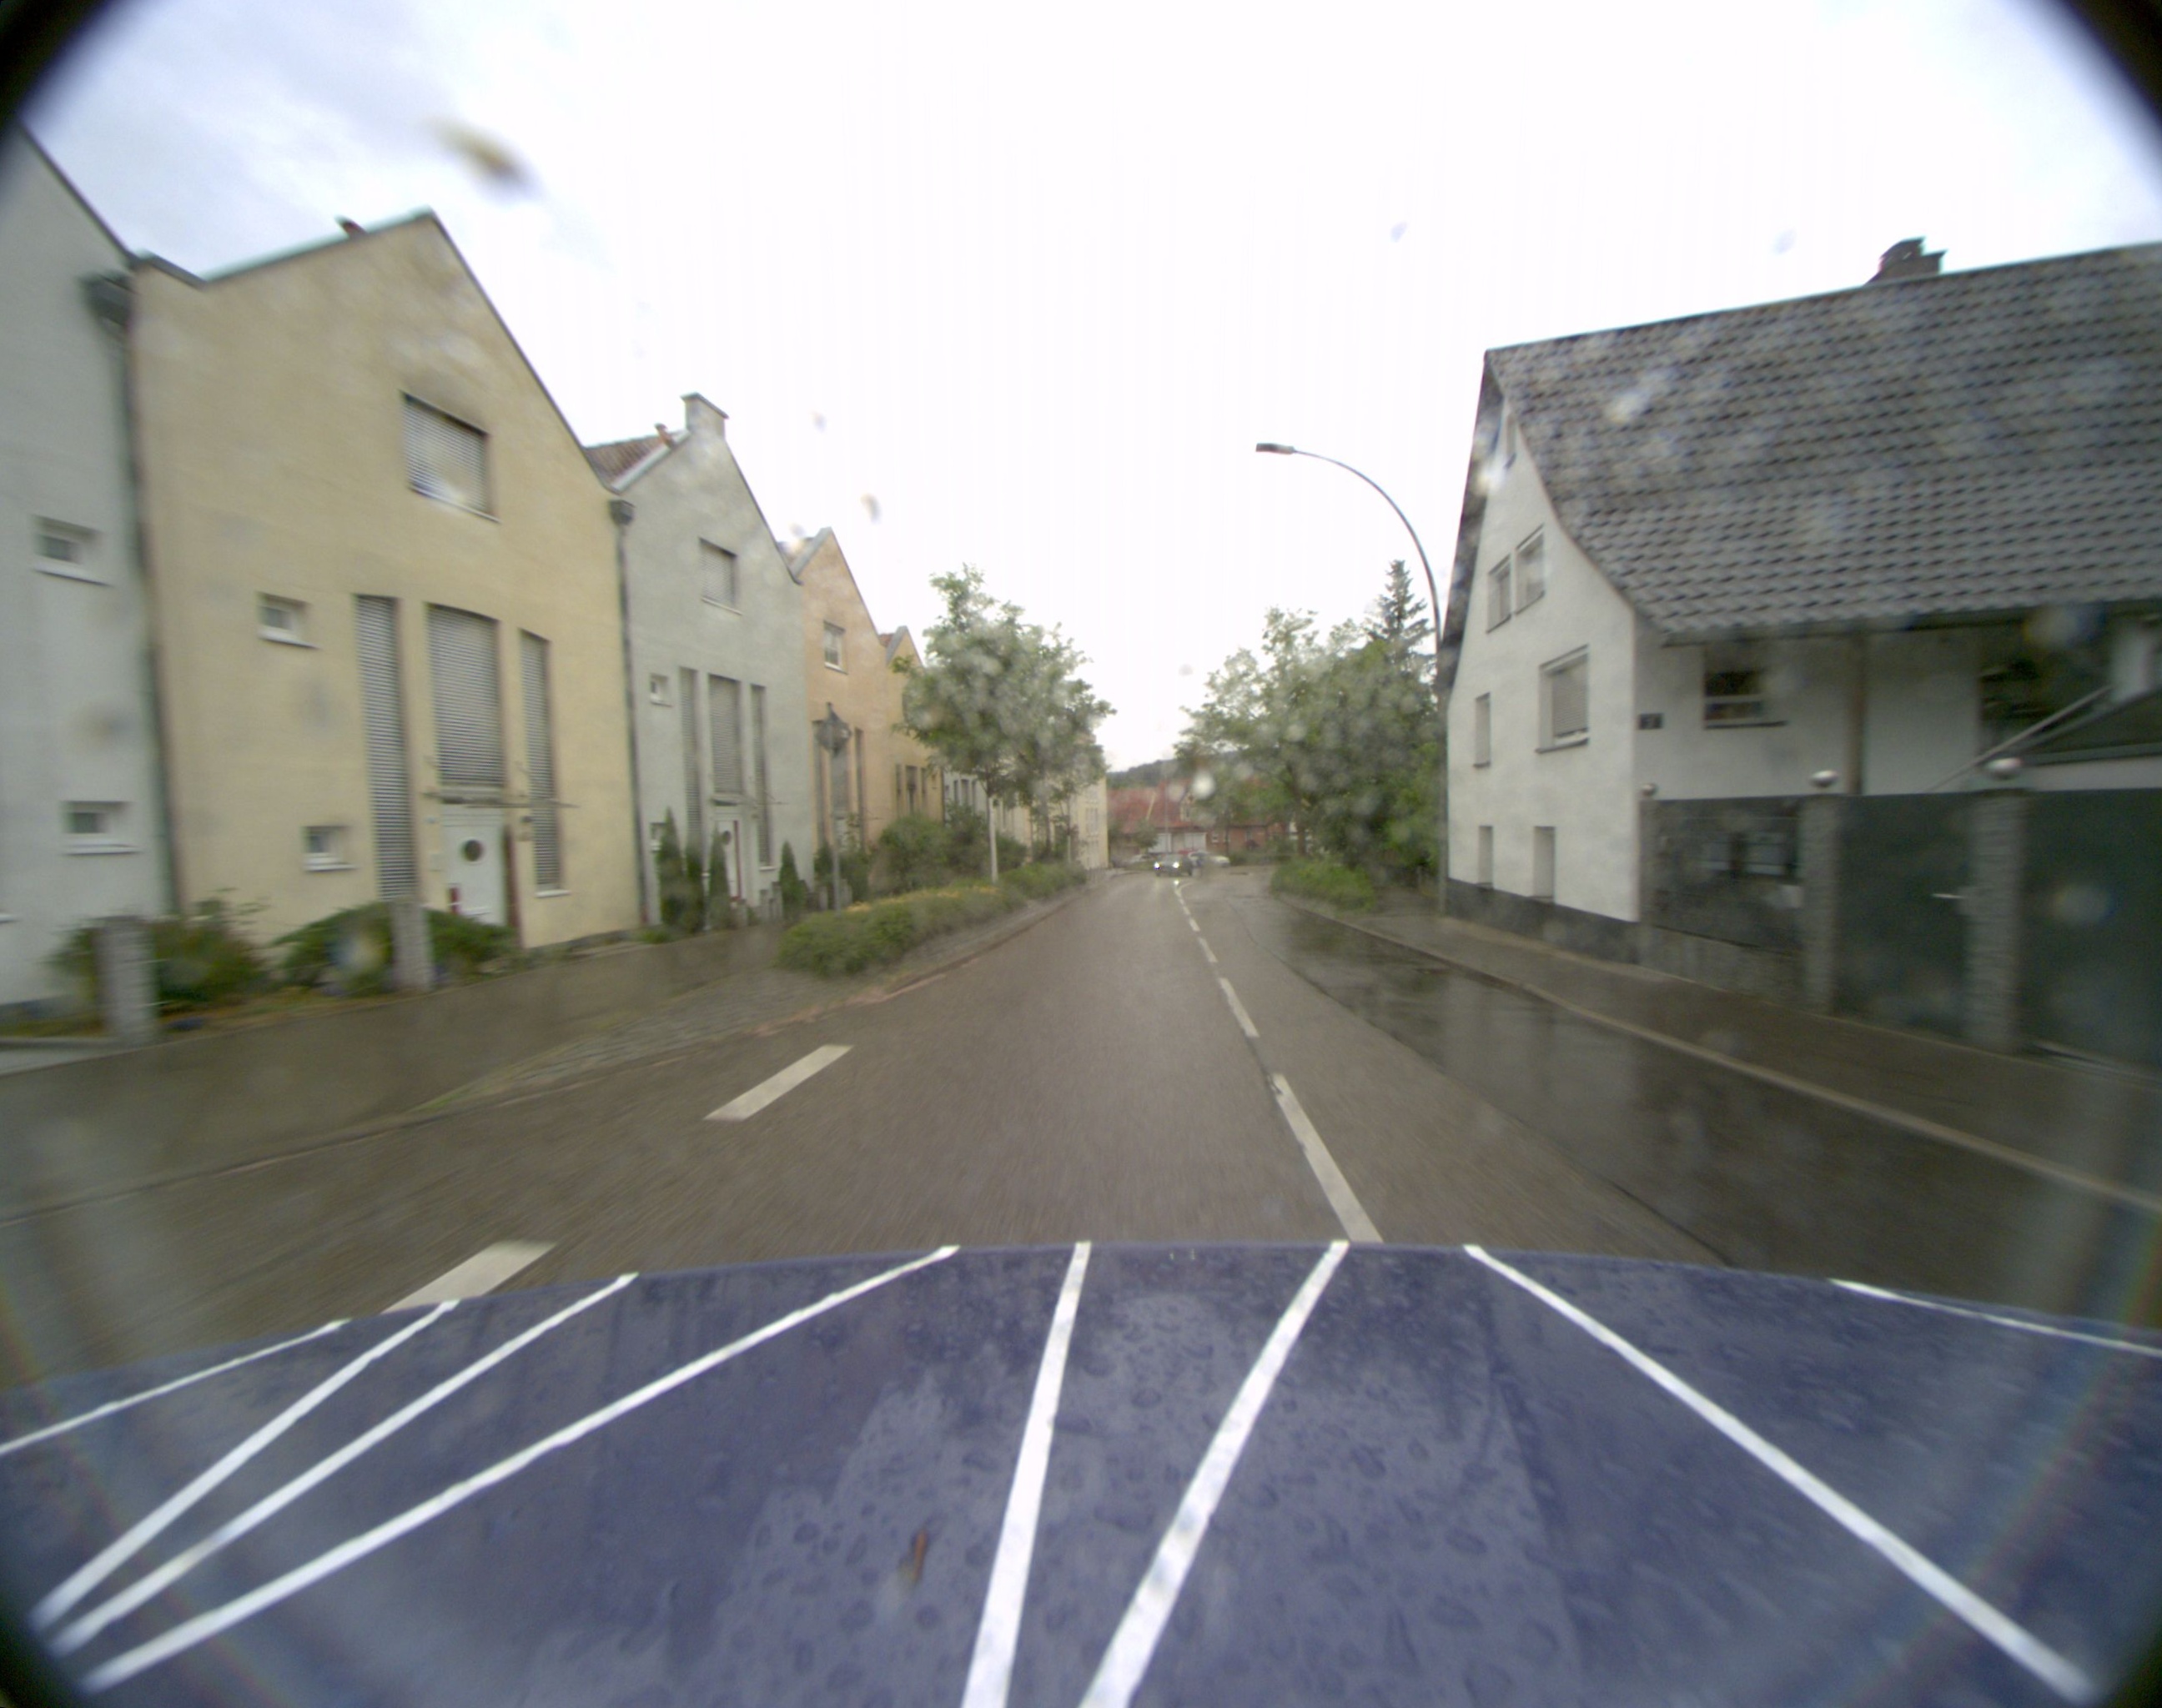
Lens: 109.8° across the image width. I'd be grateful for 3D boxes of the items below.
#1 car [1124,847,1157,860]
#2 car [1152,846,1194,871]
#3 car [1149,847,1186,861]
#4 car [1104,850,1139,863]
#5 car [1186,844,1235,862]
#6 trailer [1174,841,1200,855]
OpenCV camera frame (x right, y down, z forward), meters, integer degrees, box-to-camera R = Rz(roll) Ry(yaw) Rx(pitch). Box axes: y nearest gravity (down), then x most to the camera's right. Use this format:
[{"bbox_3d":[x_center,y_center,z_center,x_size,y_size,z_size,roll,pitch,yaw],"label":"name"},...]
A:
[{"bbox_3d":[6.814,-0.076,86.797,1.619,1.382,4.007,0,2,42],"label":"car"},{"bbox_3d":[6.503,0.292,53.589,1.995,1.521,4.005,-1,2,21],"label":"car"},{"bbox_3d":[9.536,-0.024,83.862,3.738,1.382,1.620,-3,2,-25],"label":"car"},{"bbox_3d":[4.799,0.247,89.197,1.875,1.368,4.008,0,2,44],"label":"car"},{"bbox_3d":[11.700,-0.107,68.684,1.761,1.527,4.138,-4,2,-41],"label":"car"},{"bbox_3d":[12.662,-0.739,90.522,2.717,1.640,1.415,-1,2,34],"label":"trailer"}]
